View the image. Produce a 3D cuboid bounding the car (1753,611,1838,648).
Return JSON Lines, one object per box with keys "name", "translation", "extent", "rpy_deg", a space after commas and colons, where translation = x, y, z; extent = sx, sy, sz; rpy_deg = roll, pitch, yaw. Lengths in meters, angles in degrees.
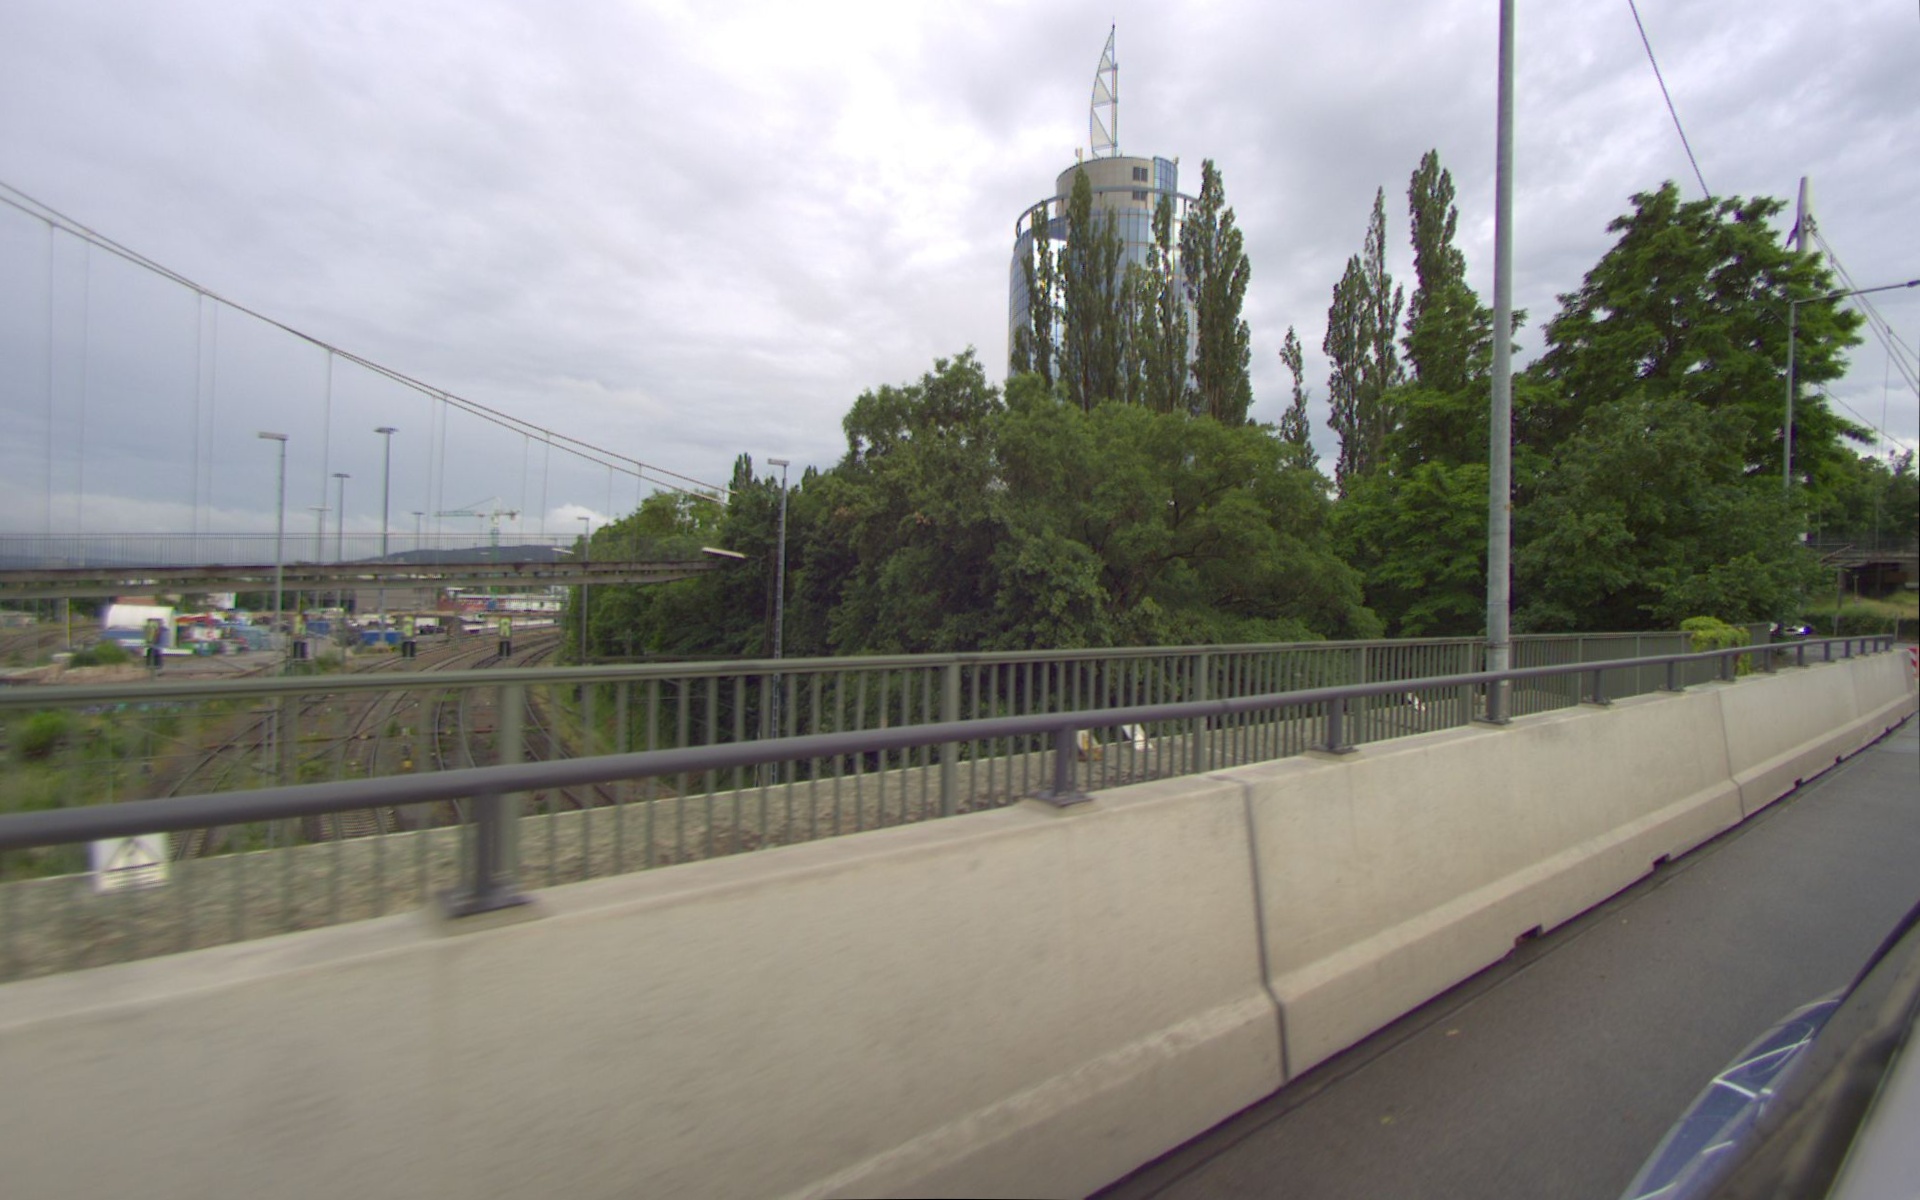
{"name": "car", "translation": [38.745, 1.336, 47.037], "extent": [1.747, 1.520, 3.975], "rpy_deg": [1, 1, 19]}
